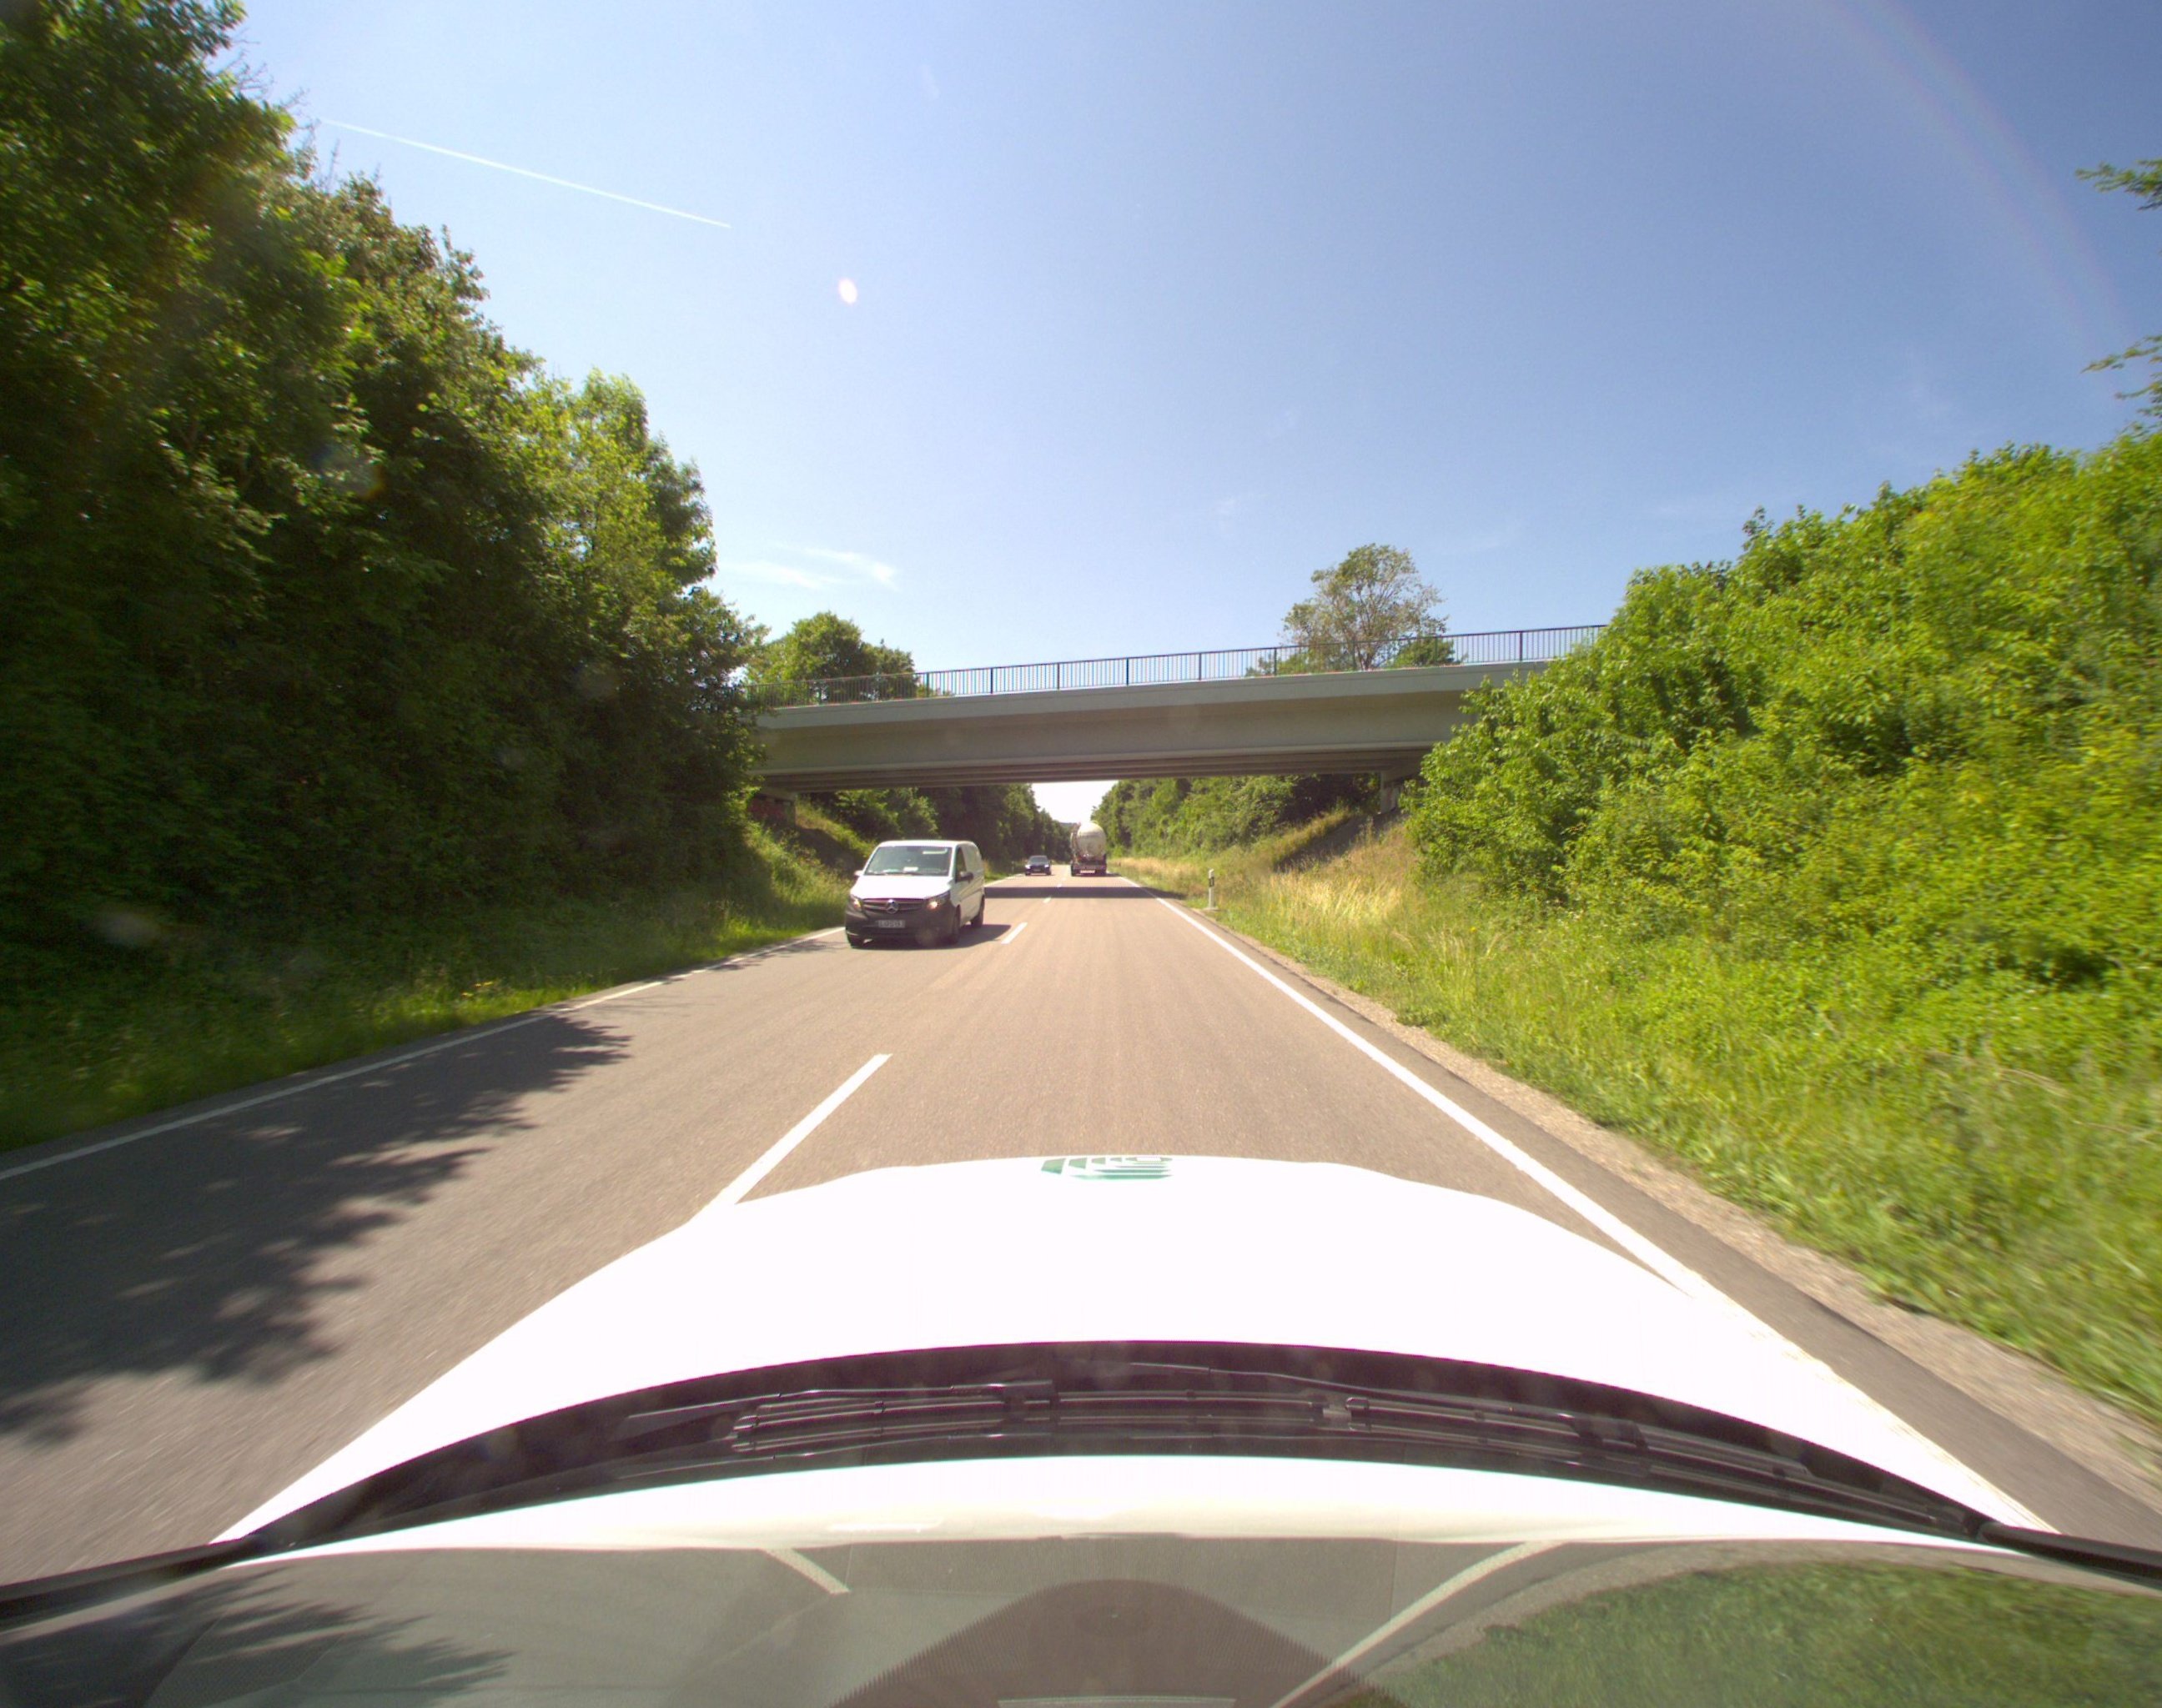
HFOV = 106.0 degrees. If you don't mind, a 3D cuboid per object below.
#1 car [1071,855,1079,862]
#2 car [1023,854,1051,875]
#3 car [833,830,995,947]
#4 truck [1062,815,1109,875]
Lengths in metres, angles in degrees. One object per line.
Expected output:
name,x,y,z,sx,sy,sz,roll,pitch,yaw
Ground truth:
car,-1.673,1.174,211.888,1.988,2.013,3.998,-1,0,-1
car,-3.352,0.776,63.248,1.853,1.505,4.587,-1,0,1
car,-3.024,0.567,16.051,1.924,1.905,5.329,-1,0,2
truck,0.329,-0.515,63.543,3.039,3.998,15.632,2,-1,0
